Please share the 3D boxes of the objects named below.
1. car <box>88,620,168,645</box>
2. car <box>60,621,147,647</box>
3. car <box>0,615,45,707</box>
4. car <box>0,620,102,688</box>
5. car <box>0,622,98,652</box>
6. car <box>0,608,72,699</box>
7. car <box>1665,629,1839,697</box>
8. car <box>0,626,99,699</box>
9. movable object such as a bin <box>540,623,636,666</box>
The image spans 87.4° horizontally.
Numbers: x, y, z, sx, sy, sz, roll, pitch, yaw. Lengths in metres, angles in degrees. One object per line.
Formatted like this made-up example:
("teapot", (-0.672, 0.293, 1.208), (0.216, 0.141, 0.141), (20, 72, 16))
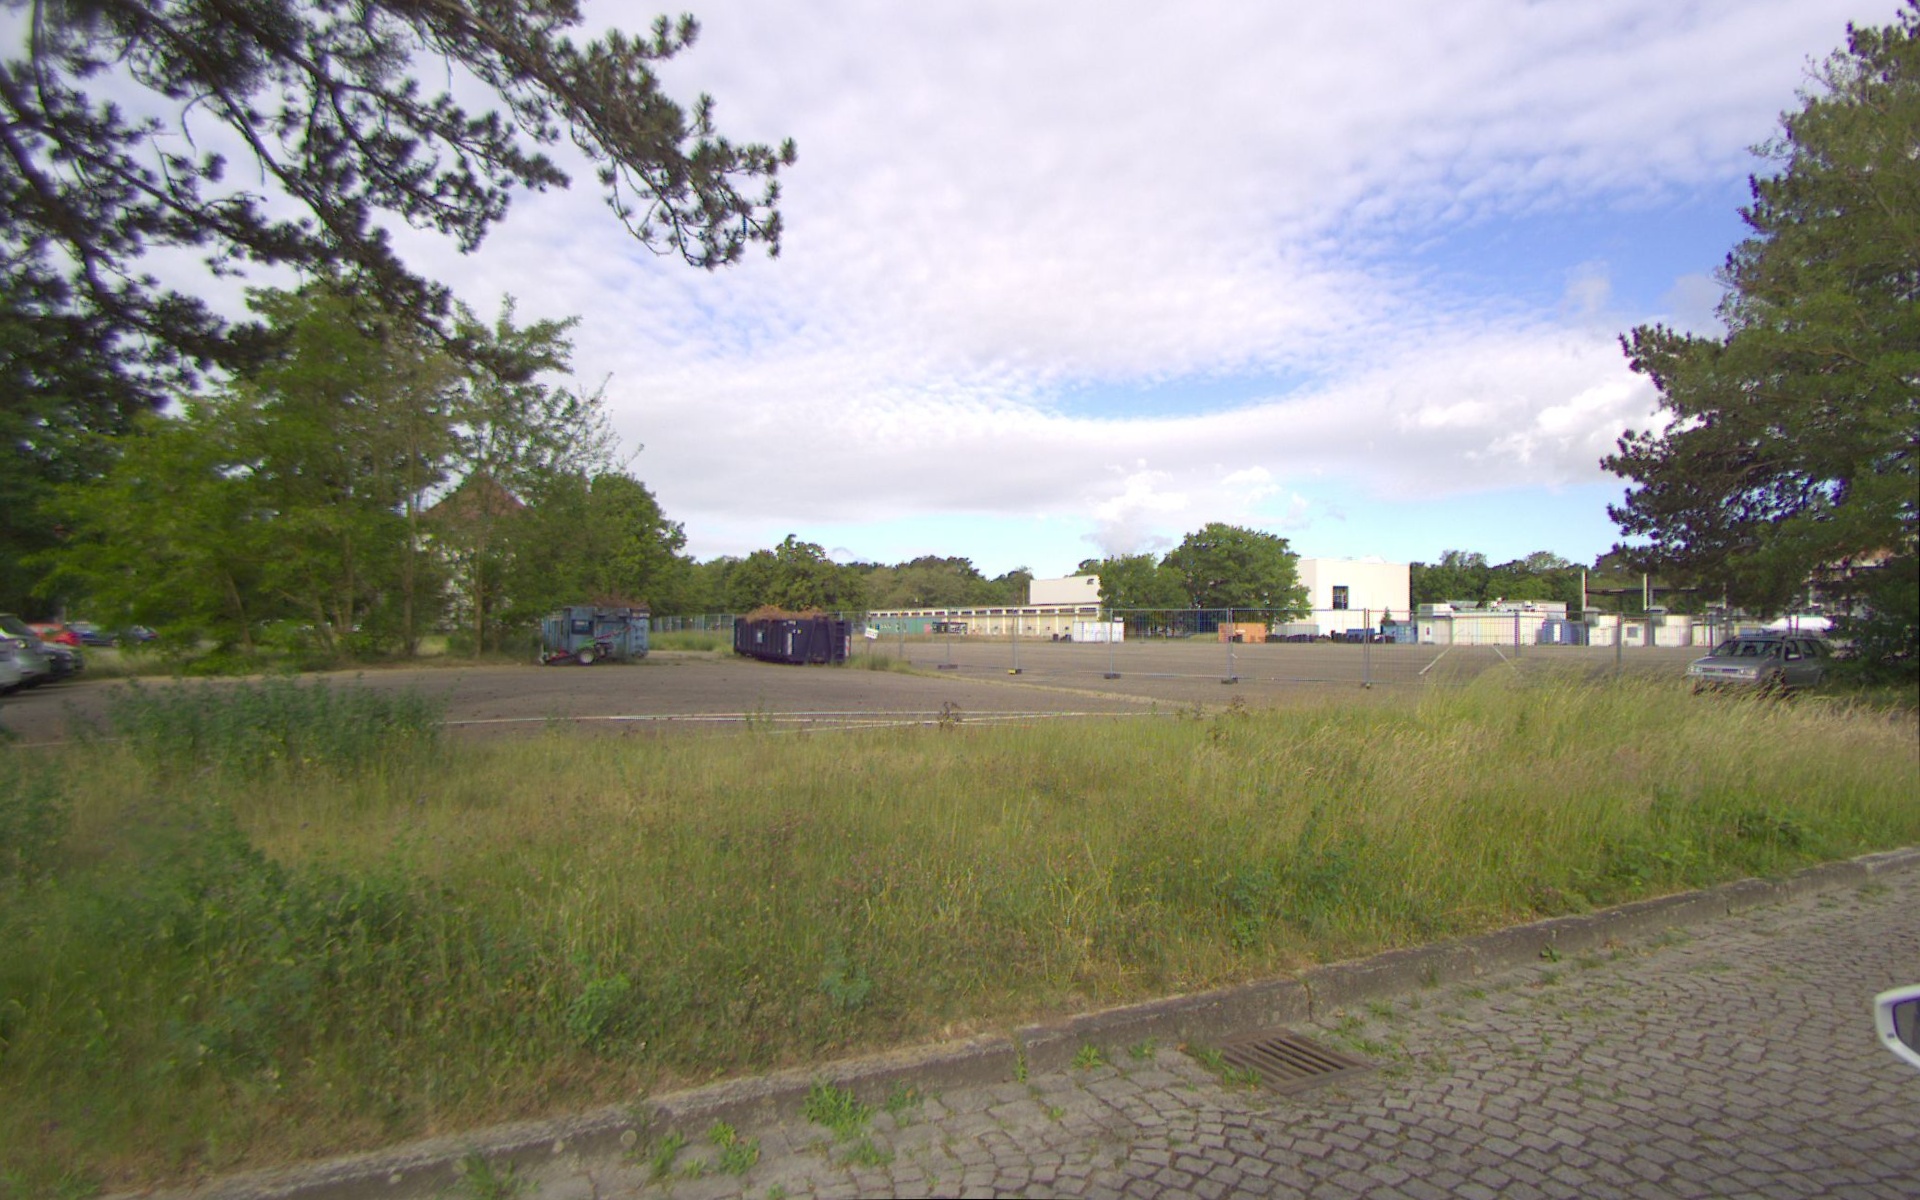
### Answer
("car", (-56.285, 2.234, 68.023), (3.744, 1.646, 1.987), (1, -2, -26))
("car", (-54.453, 2.147, 63.960), (3.744, 1.590, 1.987), (1, -2, -26))
("car", (-17.763, 1.060, 15.695), (4.764, 1.459, 1.898), (-2, 0, -30))
("car", (-21.930, 1.187, 22.444), (3.943, 1.475, 1.666), (1, -2, -32))
("car", (-49.884, 2.008, 54.794), (3.953, 1.590, 1.984), (1, -2, -31))
("car", (-19.035, 0.999, 17.951), (4.436, 1.611, 1.832), (-1, -1, -32))
("car", (19.199, 1.469, 24.312), (4.318, 1.496, 1.910), (1, -1, -31))
("car", (-20.538, 1.242, 20.179), (4.580, 1.441, 1.870), (1, -2, -30))
("movable object such as a bin", (-10.926, 1.291, 29.516), (2.507, 1.228, 1.162), (1, -1, -28))
